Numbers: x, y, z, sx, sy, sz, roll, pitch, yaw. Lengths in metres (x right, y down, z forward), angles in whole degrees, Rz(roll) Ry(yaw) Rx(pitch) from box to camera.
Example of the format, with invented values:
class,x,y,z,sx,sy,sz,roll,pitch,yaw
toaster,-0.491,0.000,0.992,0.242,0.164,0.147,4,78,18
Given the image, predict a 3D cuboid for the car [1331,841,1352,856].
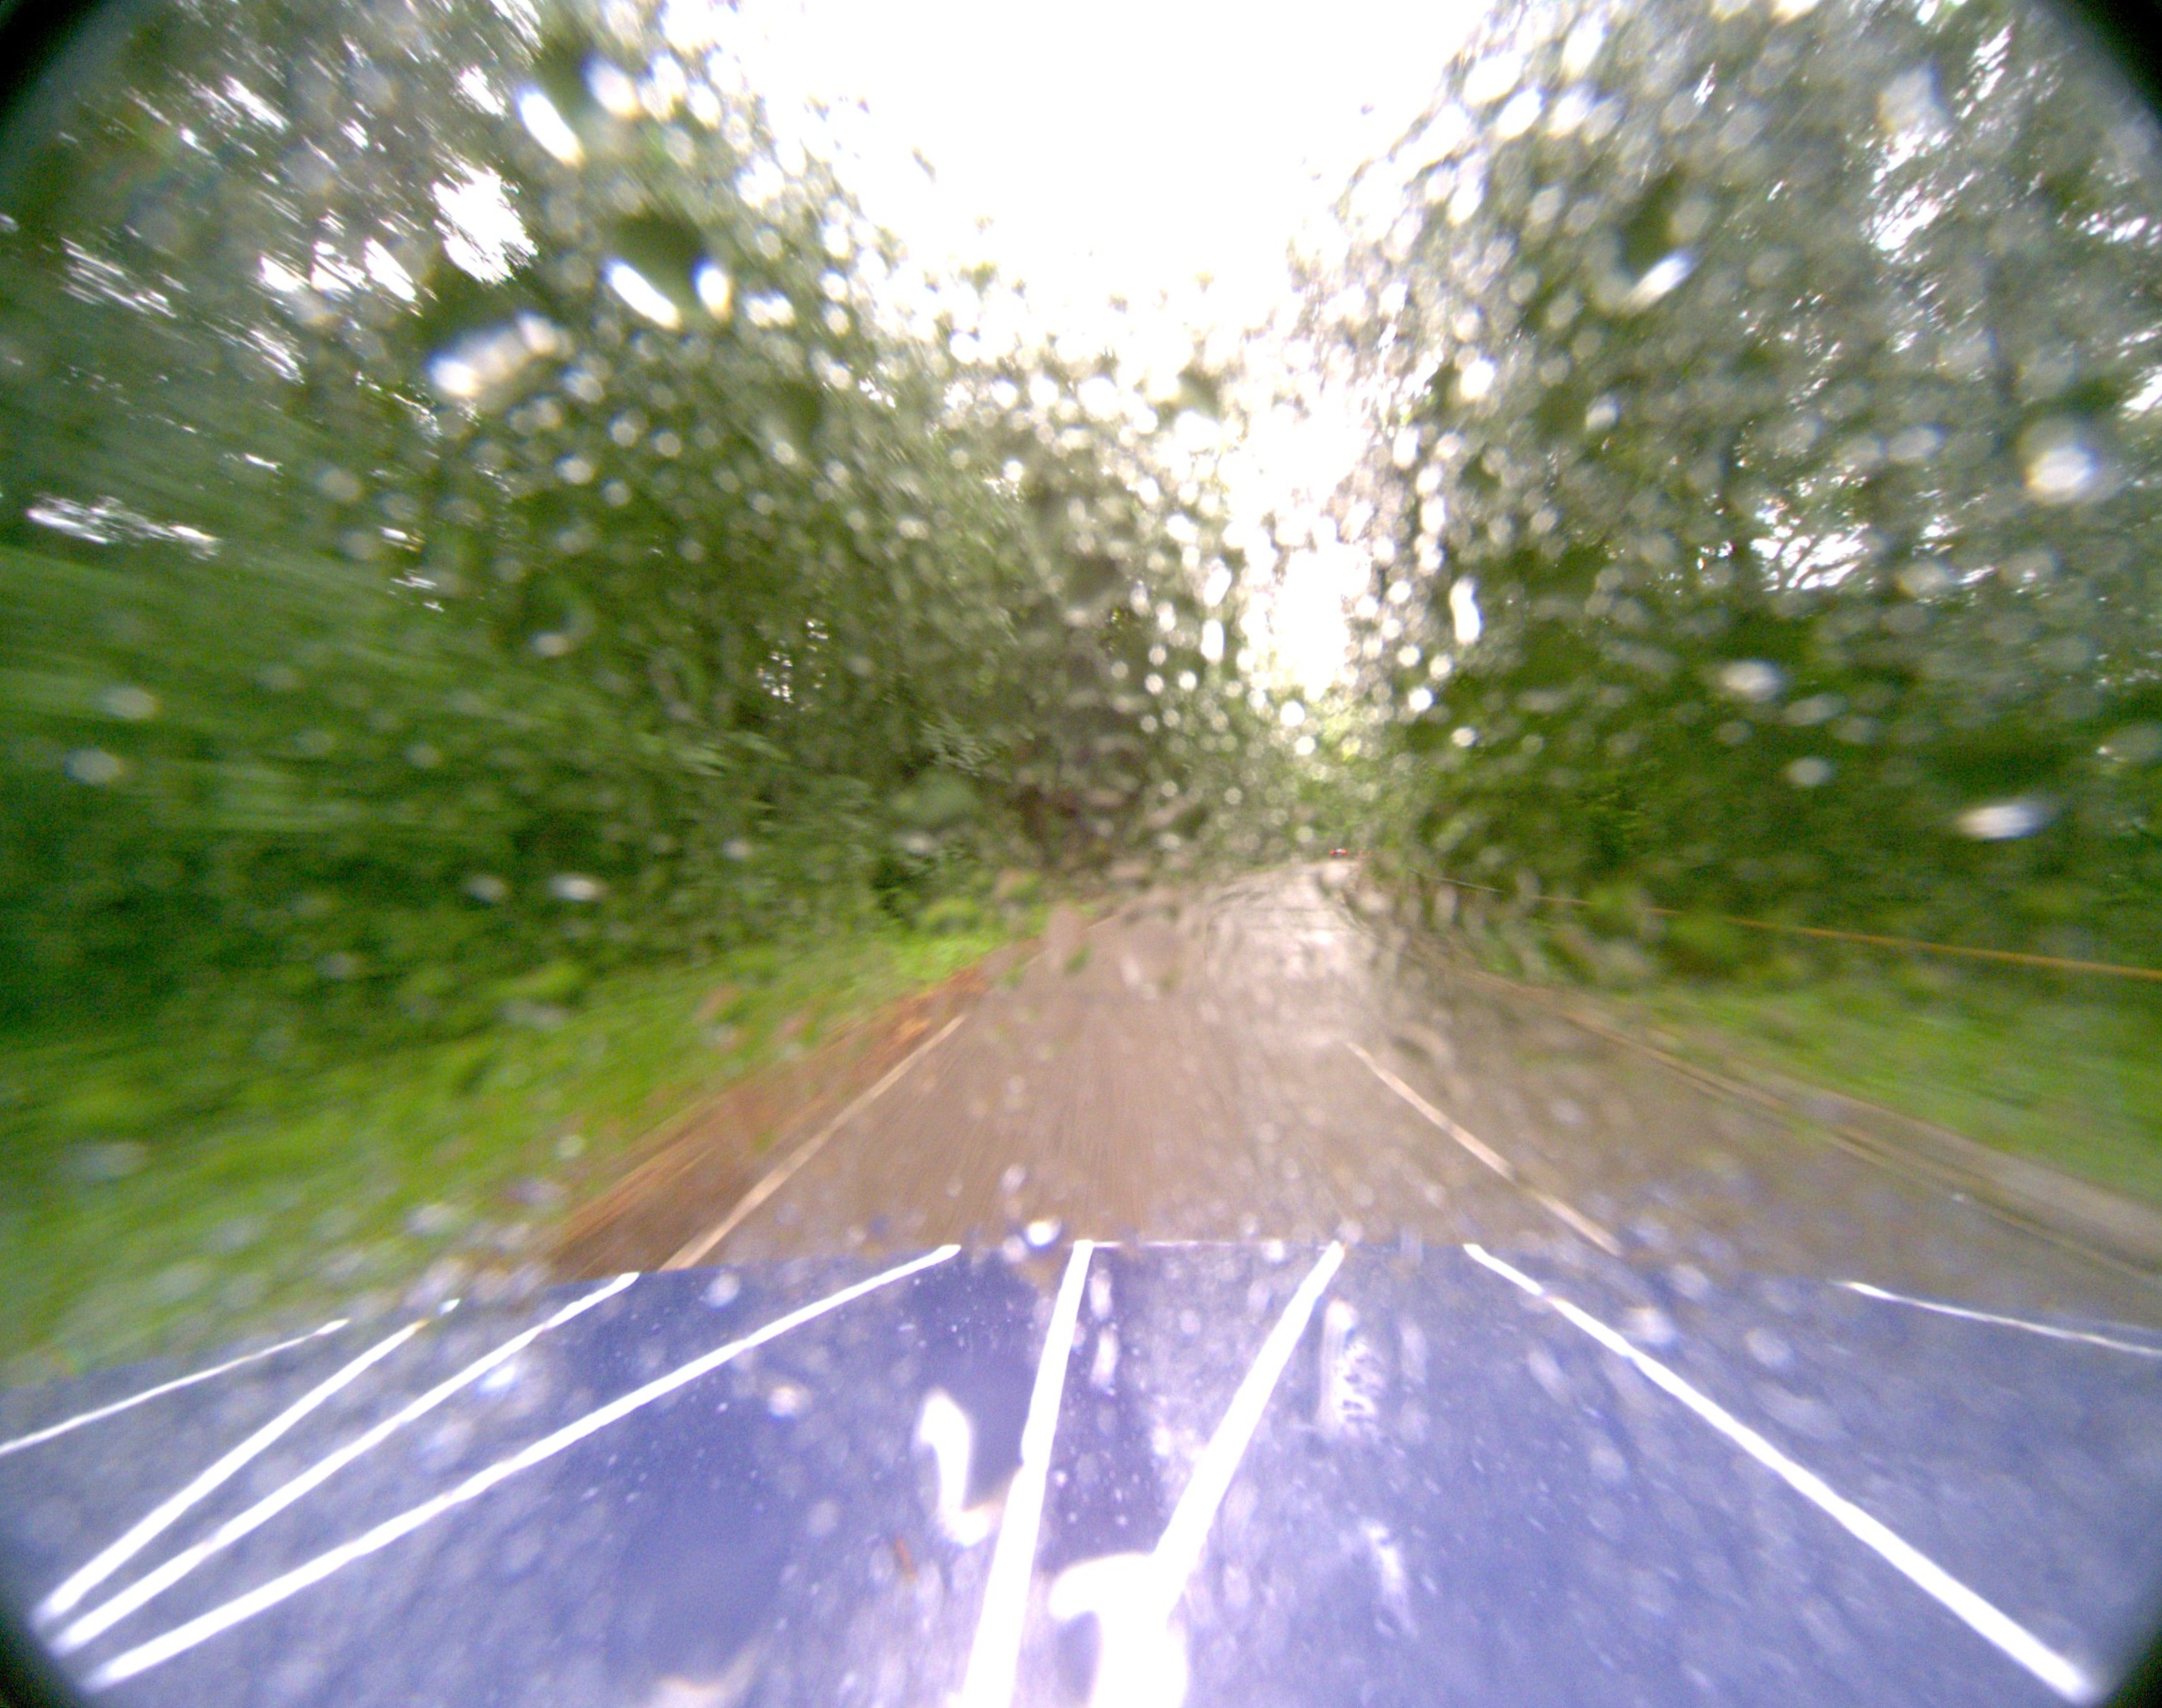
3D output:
class,x,y,z,sx,sy,sz,roll,pitch,yaw
car,32.365,-0.751,94.212,1.995,1.739,4.006,-2,0,25
